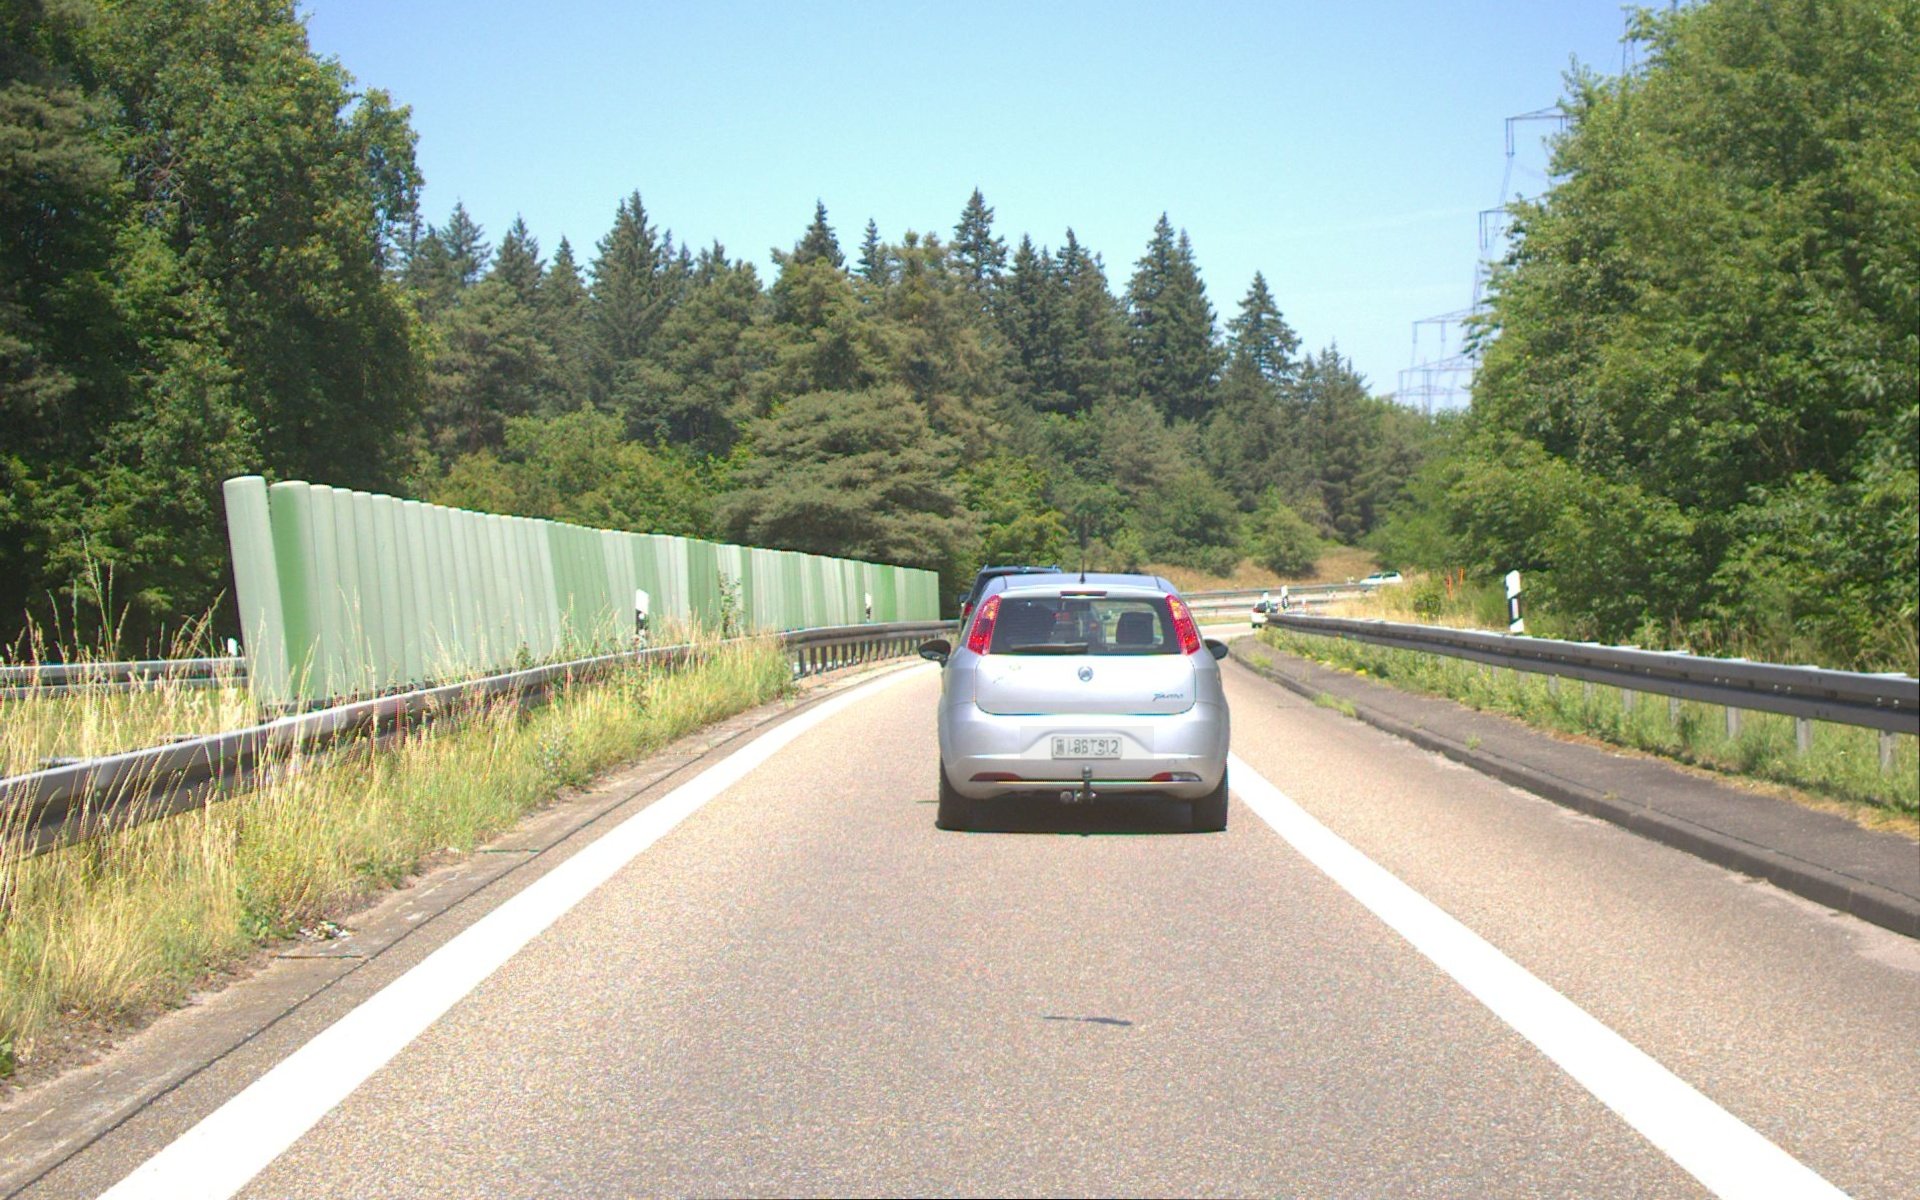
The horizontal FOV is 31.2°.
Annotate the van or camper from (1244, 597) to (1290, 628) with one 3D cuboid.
[{"bbox_3d":[15.624,0.647,174.720,1.808,1.481,3.998,-1,1,12],"label":"van or camper"}]

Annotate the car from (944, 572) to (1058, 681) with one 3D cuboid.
[{"bbox_3d":[0.629,0.393,54.990,1.706,1.670,3.398,0,1,-1],"label":"car"}]

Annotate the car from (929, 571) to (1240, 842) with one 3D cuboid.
[{"bbox_3d":[0.686,0.571,20.590,1.706,1.477,3.398,0,1,0],"label":"car"}]
